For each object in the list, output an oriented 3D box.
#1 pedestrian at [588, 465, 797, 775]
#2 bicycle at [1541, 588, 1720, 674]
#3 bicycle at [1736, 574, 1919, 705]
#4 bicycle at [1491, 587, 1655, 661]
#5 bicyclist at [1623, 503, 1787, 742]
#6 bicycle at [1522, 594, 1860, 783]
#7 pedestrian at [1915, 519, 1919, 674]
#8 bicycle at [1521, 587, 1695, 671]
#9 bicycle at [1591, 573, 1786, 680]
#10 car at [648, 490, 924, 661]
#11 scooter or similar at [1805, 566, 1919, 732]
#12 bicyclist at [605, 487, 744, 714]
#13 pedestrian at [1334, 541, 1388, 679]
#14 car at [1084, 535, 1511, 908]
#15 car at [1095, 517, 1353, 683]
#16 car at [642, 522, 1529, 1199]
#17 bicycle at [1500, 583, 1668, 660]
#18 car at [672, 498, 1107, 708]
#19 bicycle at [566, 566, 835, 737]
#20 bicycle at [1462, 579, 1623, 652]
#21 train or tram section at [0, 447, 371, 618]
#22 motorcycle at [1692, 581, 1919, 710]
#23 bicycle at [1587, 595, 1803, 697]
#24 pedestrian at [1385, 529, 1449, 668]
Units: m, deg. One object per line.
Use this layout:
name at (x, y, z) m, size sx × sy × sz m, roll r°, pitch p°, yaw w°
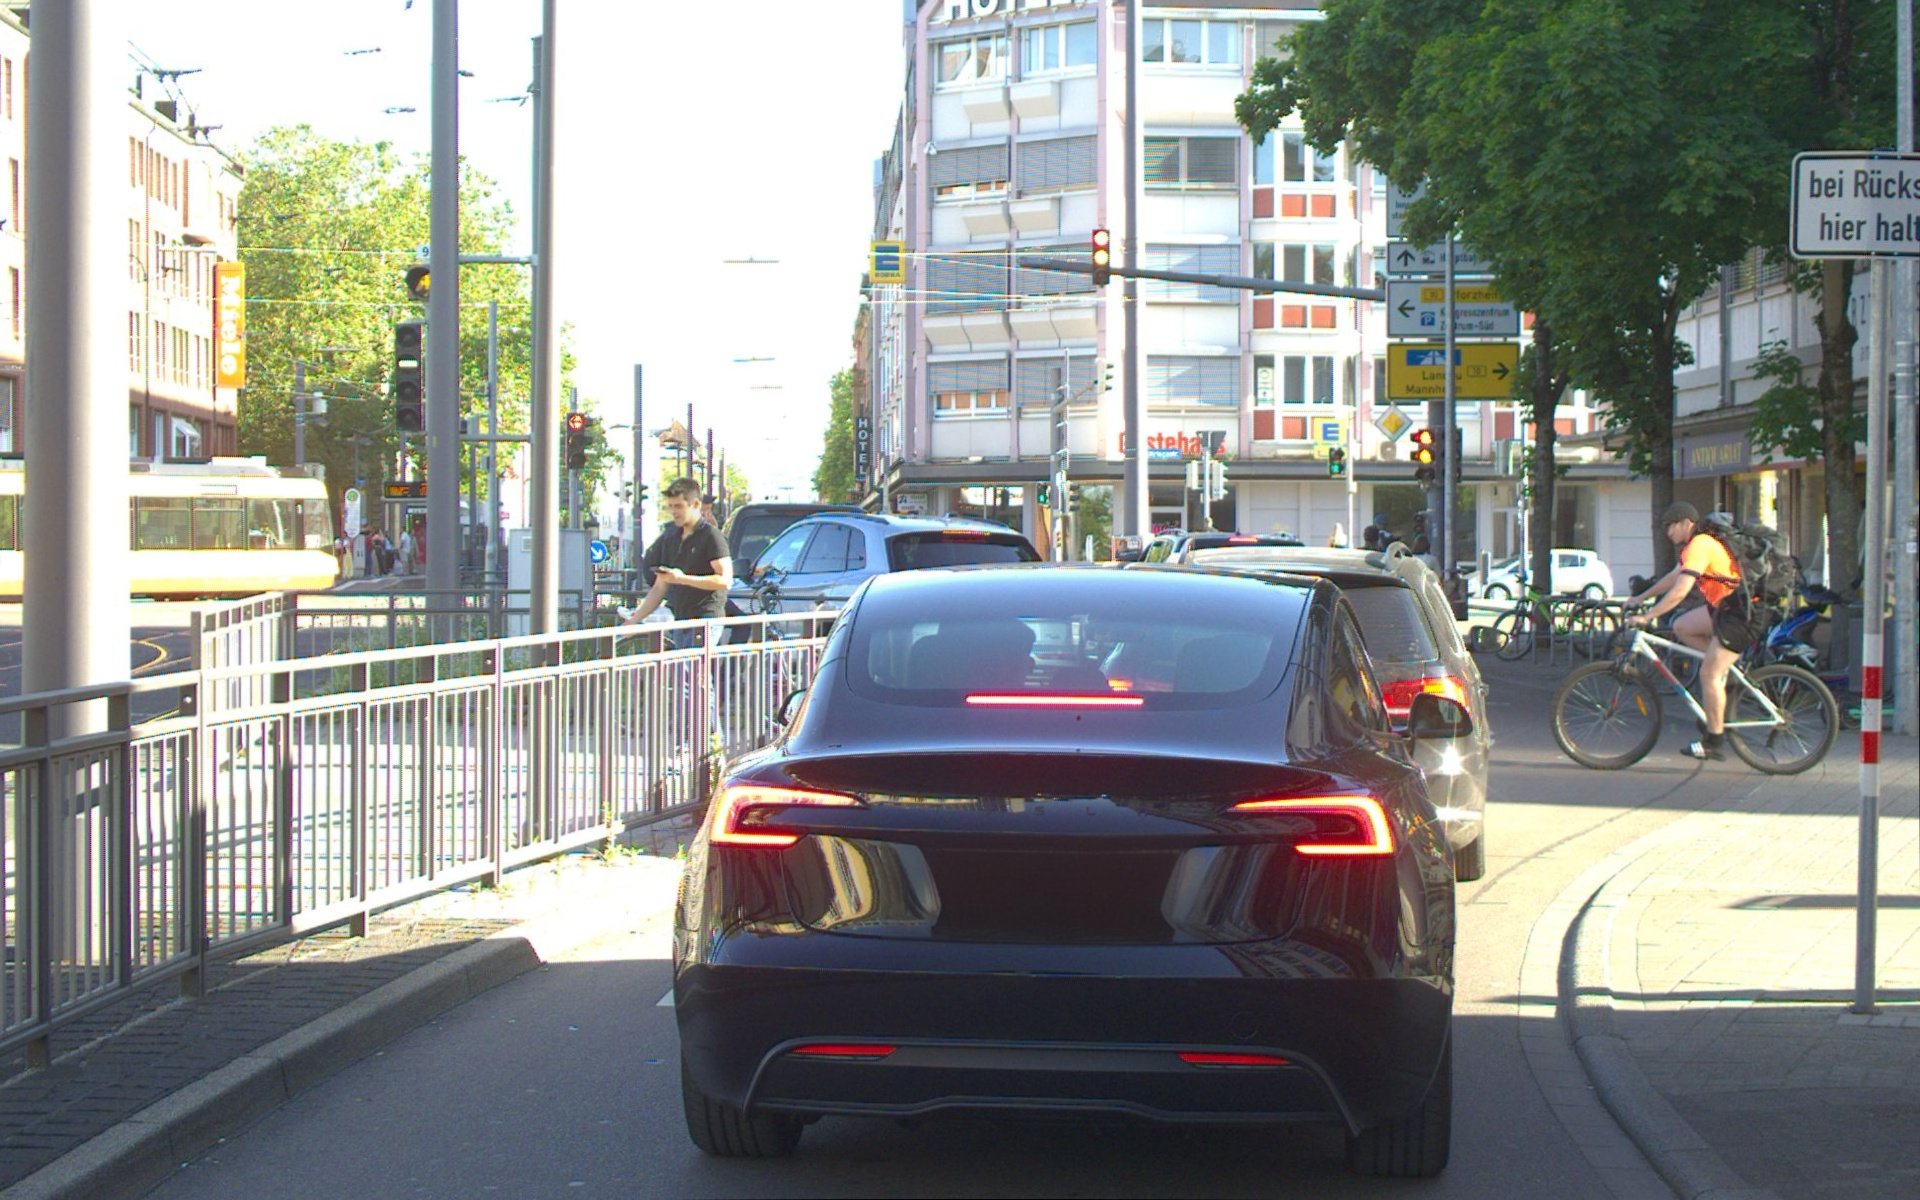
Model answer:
pedestrian at (-1.540, 0.115, 19.793) m, size 1.004 × 1.736 × 0.529 m, roll 2°, pitch 0°, yaw -27°
bicycle at (7.684, 0.352, 39.434) m, size 1.924 × 0.947 × 0.526 m, roll 1°, pitch 0°, yaw -1°
bicycle at (7.947, 0.348, 30.366) m, size 2.051 × 1.118 × 0.483 m, roll 1°, pitch 0°, yaw -1°
bicycle at (7.590, 0.294, 42.589) m, size 1.924 × 0.887 × 0.526 m, roll 1°, pitch 0°, yaw -1°
bicyclist at (4.656, 0.137, 21.467) m, size 0.908 × 1.433 × 0.628 m, roll 2°, pitch 0°, yaw 16°
bicycle at (4.576, 0.538, 21.502) m, size 1.974 × 1.068 × 0.774 m, roll 2°, pitch 1°, yaw 17°
pedestrian at (10.407, -0.040, 36.160) m, size 0.531 × 1.636 × 0.606 m, roll 0°, pitch 0°, yaw 0°
bicycle at (7.615, 0.338, 40.449) m, size 1.924 × 0.947 × 0.526 m, roll 1°, pitch 0°, yaw -1°
bicycle at (7.718, 0.274, 36.442) m, size 1.924 × 1.093 × 0.555 m, roll 1°, pitch 0°, yaw -1°
car at (-1.790, -0.266, 33.969) m, size 1.824 × 1.514 × 4.219 m, roll 2°, pitch 1°, yaw -15°
scooter or similar at (7.653, 0.396, 27.932) m, size 1.408 × 1.312 × 0.696 m, roll 0°, pitch -1°, yaw -27°
bicyclist at (-1.943, 0.002, 23.342) m, size 0.836 × 1.494 × 0.560 m, roll 2°, pitch 0°, yaw -10°
pedestrian at (4.960, 0.116, 42.571) m, size 0.562 × 1.677 × 0.750 m, roll 2°, pitch 1°, yaw 3°
car at (1.629, 0.443, 15.737) m, size 1.654 × 1.413 × 3.999 m, roll 2°, pitch 2°, yaw 8°
car at (2.594, -0.027, 34.628) m, size 1.824 × 1.514 × 3.650 m, roll 2°, pitch 1°, yaw -7°
car at (0.162, 0.578, 9.194) m, size 1.848 × 1.479 × 3.788 m, roll 2°, pitch 1°, yaw -3°
bicycle at (7.539, 0.257, 41.579) m, size 1.924 × 0.885 × 0.526 m, roll 1°, pitch 0°, yaw -1°
car at (-0.663, -0.020, 27.657) m, size 1.783 × 1.514 × 4.219 m, roll 2°, pitch 1°, yaw -27°
bicycle at (-1.774, 0.345, 23.415) m, size 1.727 × 1.084 × 0.678 m, roll 2°, pitch 0°, yaw -10°
bicycle at (7.382, 0.196, 43.600) m, size 1.924 × 0.887 × 0.526 m, roll 1°, pitch 0°, yaw -1°
train or tram section at (-20.180, -1.542, 80.632) m, size 2.642 × 3.706 × 15.356 m, roll 3°, pitch 1°, yaw 34°
motorcycle at (7.974, 0.423, 32.339) m, size 1.991 × 1.124 × 0.596 m, roll 2°, pitch 0°, yaw -2°
bicycle at (7.377, 0.461, 34.534) m, size 2.051 × 0.979 × 0.483 m, roll 1°, pitch 0°, yaw -1°
pedestrian at (5.355, -0.024, 40.308) m, size 0.629 × 1.608 × 0.643 m, roll 2°, pitch 1°, yaw 2°
